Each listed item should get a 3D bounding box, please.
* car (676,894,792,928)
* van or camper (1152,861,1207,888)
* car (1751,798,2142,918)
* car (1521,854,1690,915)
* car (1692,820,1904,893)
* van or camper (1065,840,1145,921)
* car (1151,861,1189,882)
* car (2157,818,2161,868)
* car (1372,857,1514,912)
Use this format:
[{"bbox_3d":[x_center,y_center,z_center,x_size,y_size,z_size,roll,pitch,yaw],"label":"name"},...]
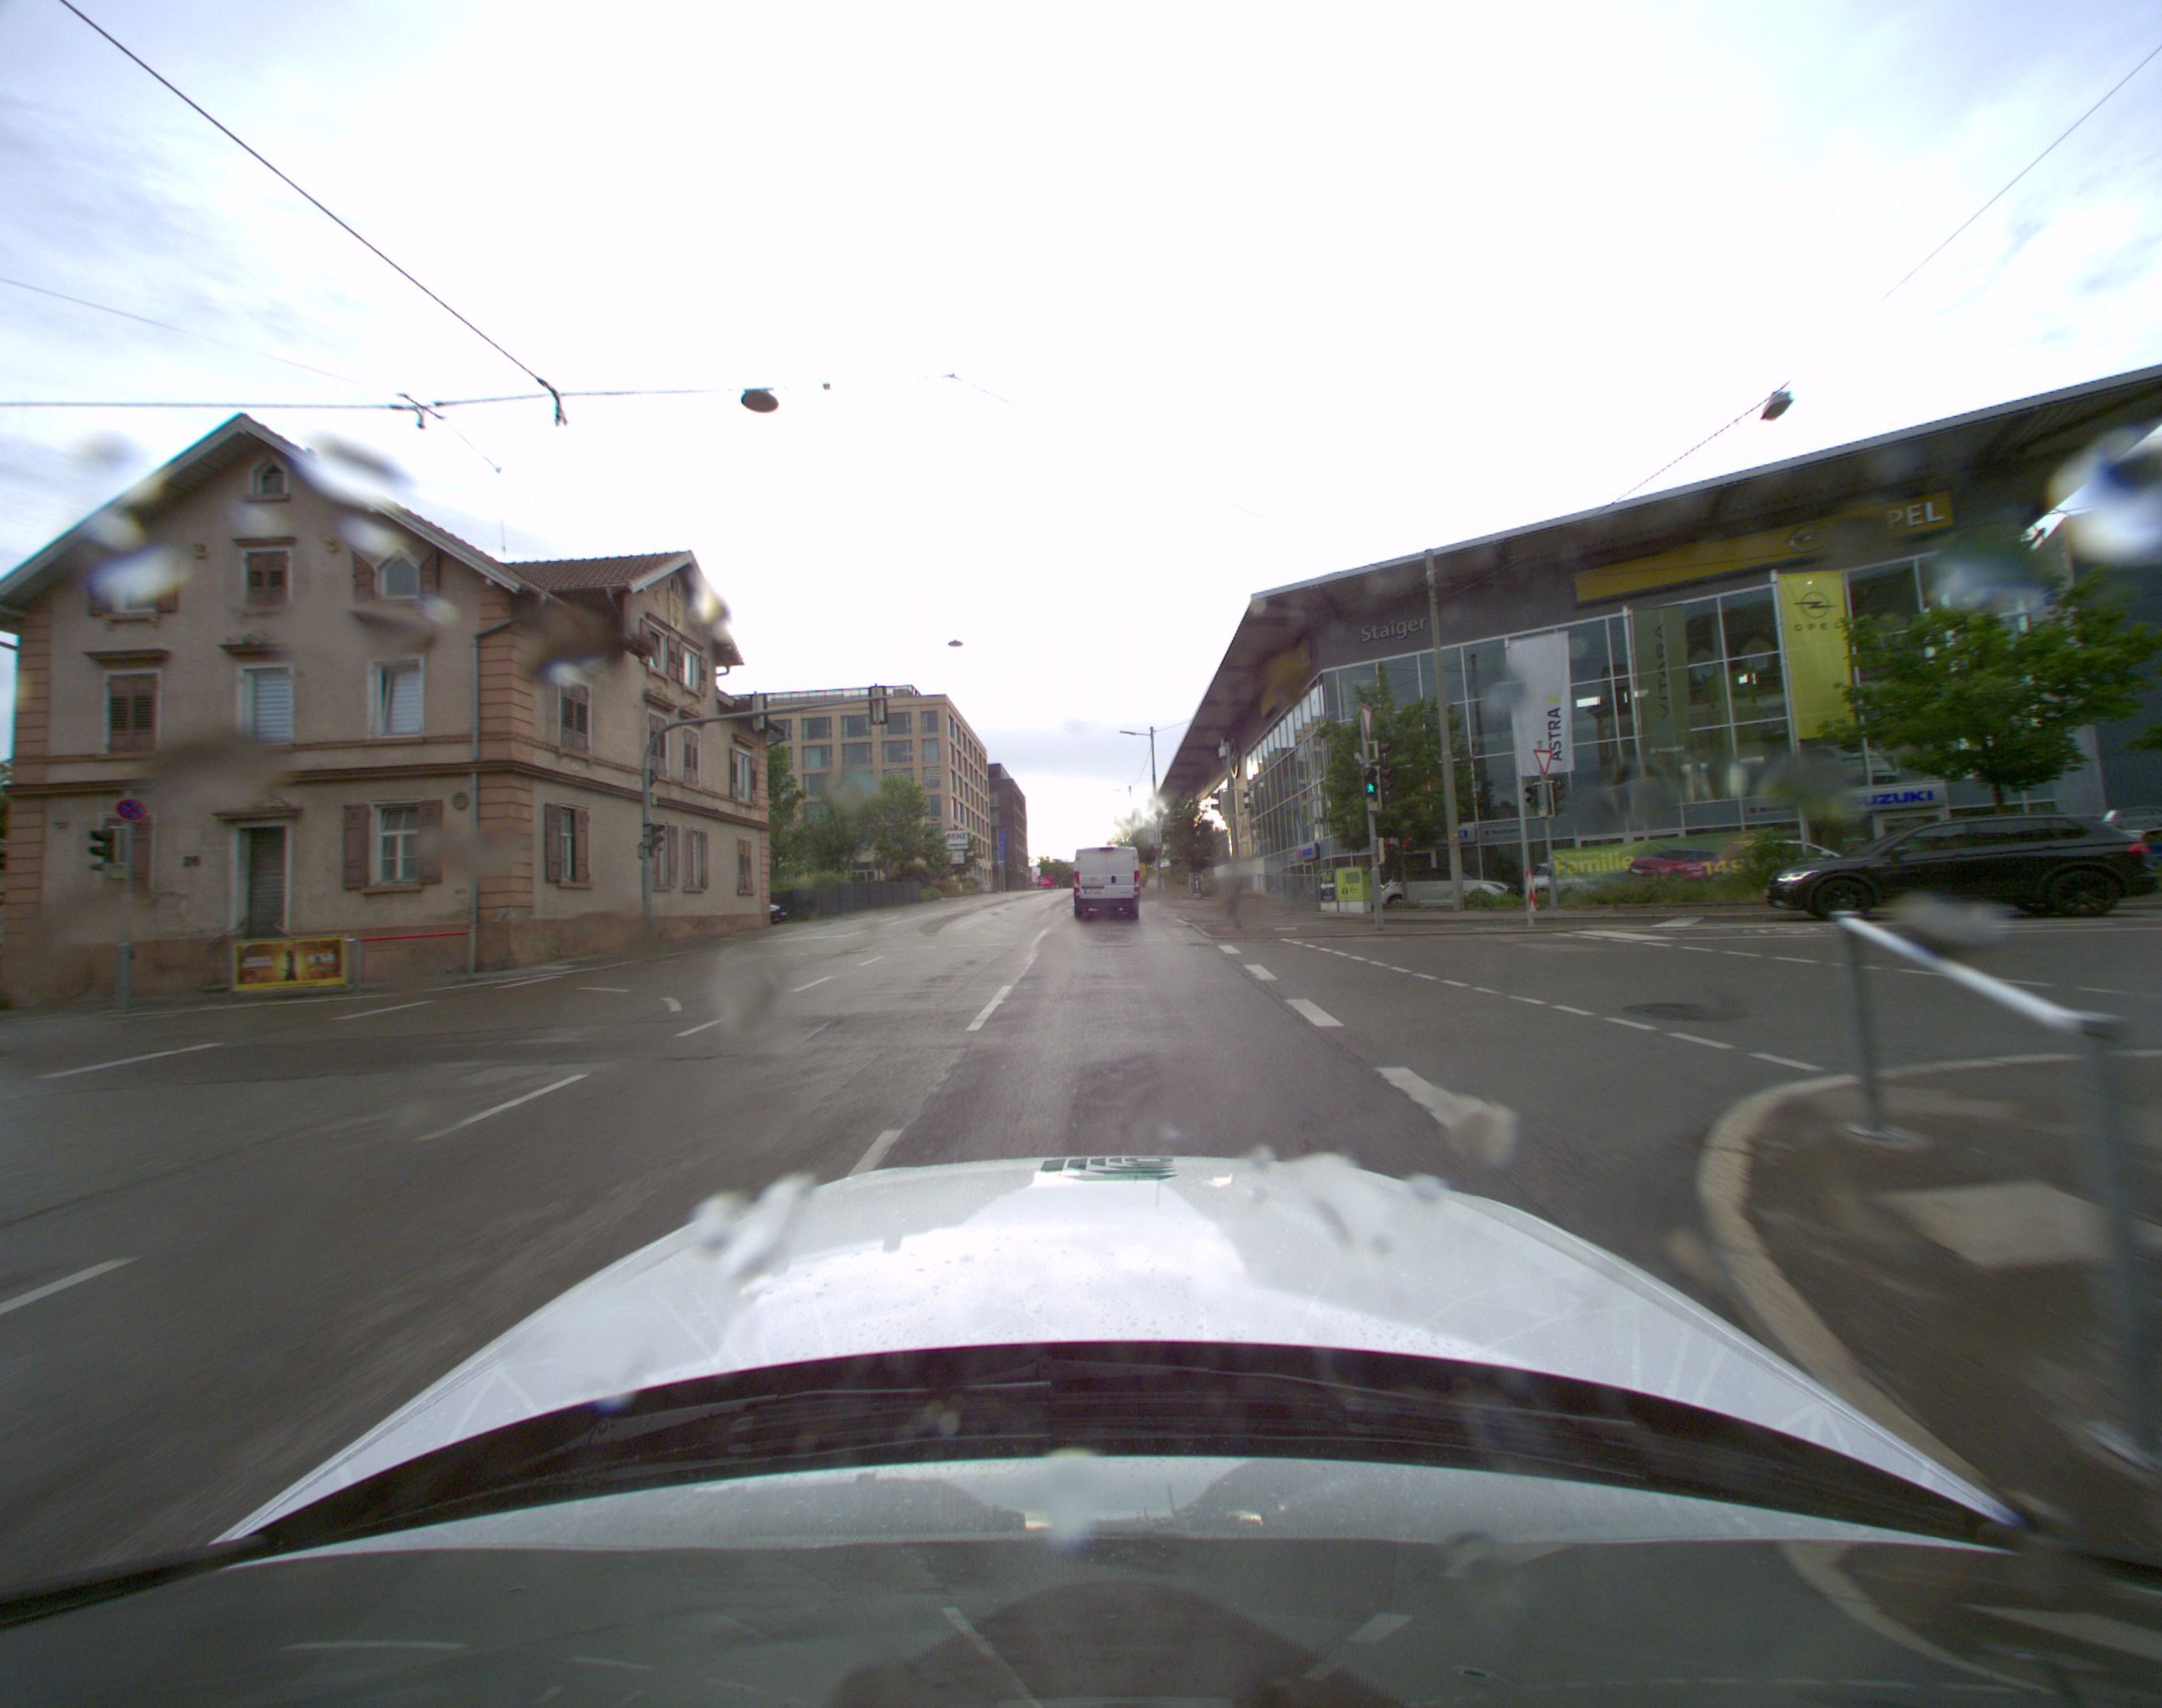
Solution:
[{"bbox_3d":[-14.057,2.298,33.117,3.978,1.163,1.605,-2,-2,-3],"label":"car"},{"bbox_3d":[10.619,2.226,88.215,5.717,2.724,2.352,-2,-2,1],"label":"van or camper"},{"bbox_3d":[14.305,0.157,13.911,4.199,1.663,1.816,-5,-3,36],"label":"car"},{"bbox_3d":[15.397,0.935,24.056,3.948,1.530,1.837,-5,-5,33],"label":"car"},{"bbox_3d":[18.994,0.130,21.864,3.948,1.592,1.837,-5,-5,33],"label":"car"},{"bbox_3d":[0.819,0.897,27.034,2.331,2.357,5.201,-2,-2,2],"label":"van or camper"},{"bbox_3d":[8.156,1.575,74.249,1.975,1.711,4.603,-6,-4,24],"label":"car"},{"bbox_3d":[24.876,-0.252,16.819,1.701,1.273,4.025,-5,-2,30],"label":"car"},{"bbox_3d":[11.666,1.039,26.256,3.949,1.508,1.909,-4,-6,28],"label":"car"}]
